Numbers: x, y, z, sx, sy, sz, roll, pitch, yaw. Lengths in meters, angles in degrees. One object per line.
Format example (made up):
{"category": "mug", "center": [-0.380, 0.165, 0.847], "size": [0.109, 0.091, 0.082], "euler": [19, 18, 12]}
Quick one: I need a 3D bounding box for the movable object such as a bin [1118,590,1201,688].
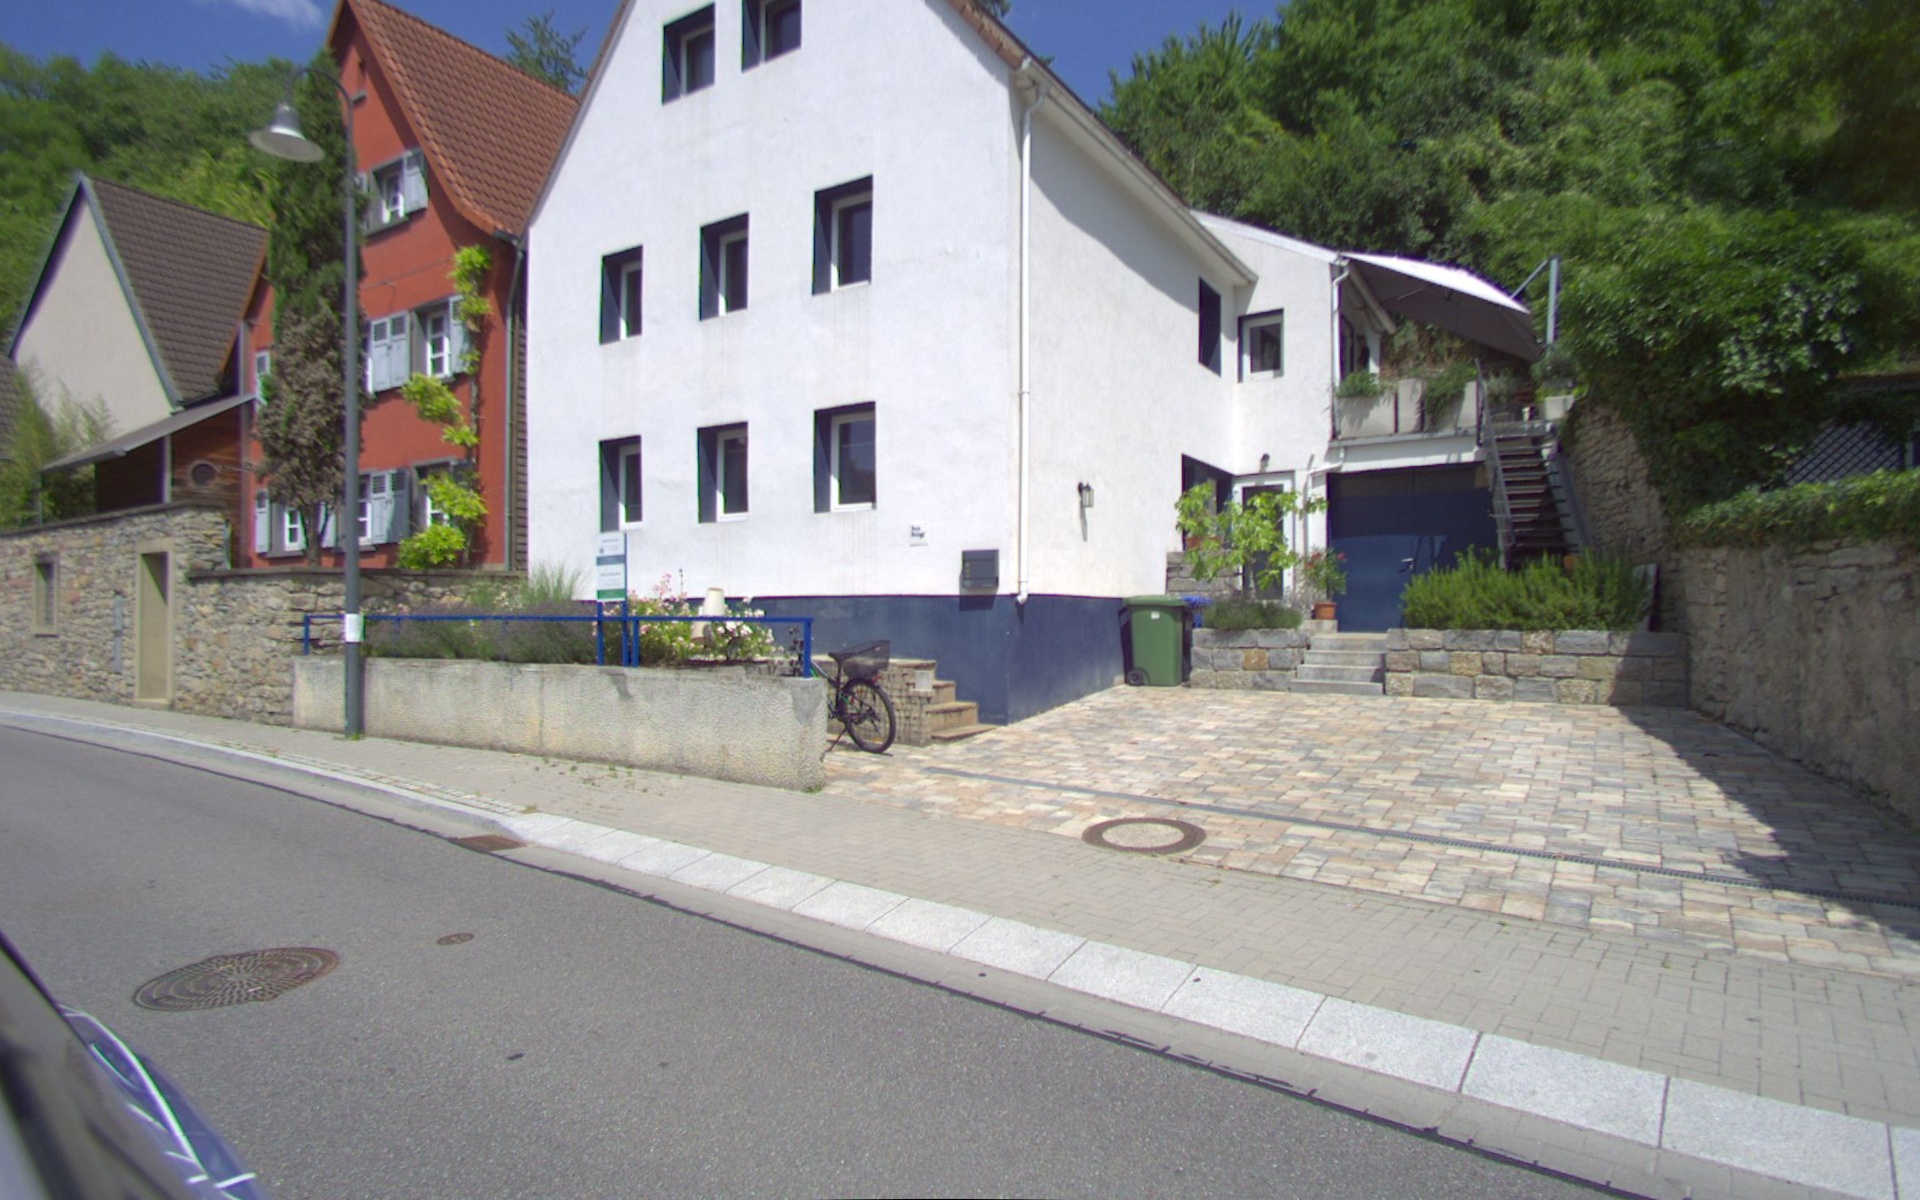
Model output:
{"category": "movable object such as a bin", "center": [2.374, 0.462, 12.008], "size": [0.833, 1.121, 0.632], "euler": [0, -3, 26]}

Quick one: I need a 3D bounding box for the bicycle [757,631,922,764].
{"category": "bicycle", "center": [-1.080, 0.809, 8.862], "size": [1.539, 0.979, 0.502], "euler": [1, 5, 42]}
